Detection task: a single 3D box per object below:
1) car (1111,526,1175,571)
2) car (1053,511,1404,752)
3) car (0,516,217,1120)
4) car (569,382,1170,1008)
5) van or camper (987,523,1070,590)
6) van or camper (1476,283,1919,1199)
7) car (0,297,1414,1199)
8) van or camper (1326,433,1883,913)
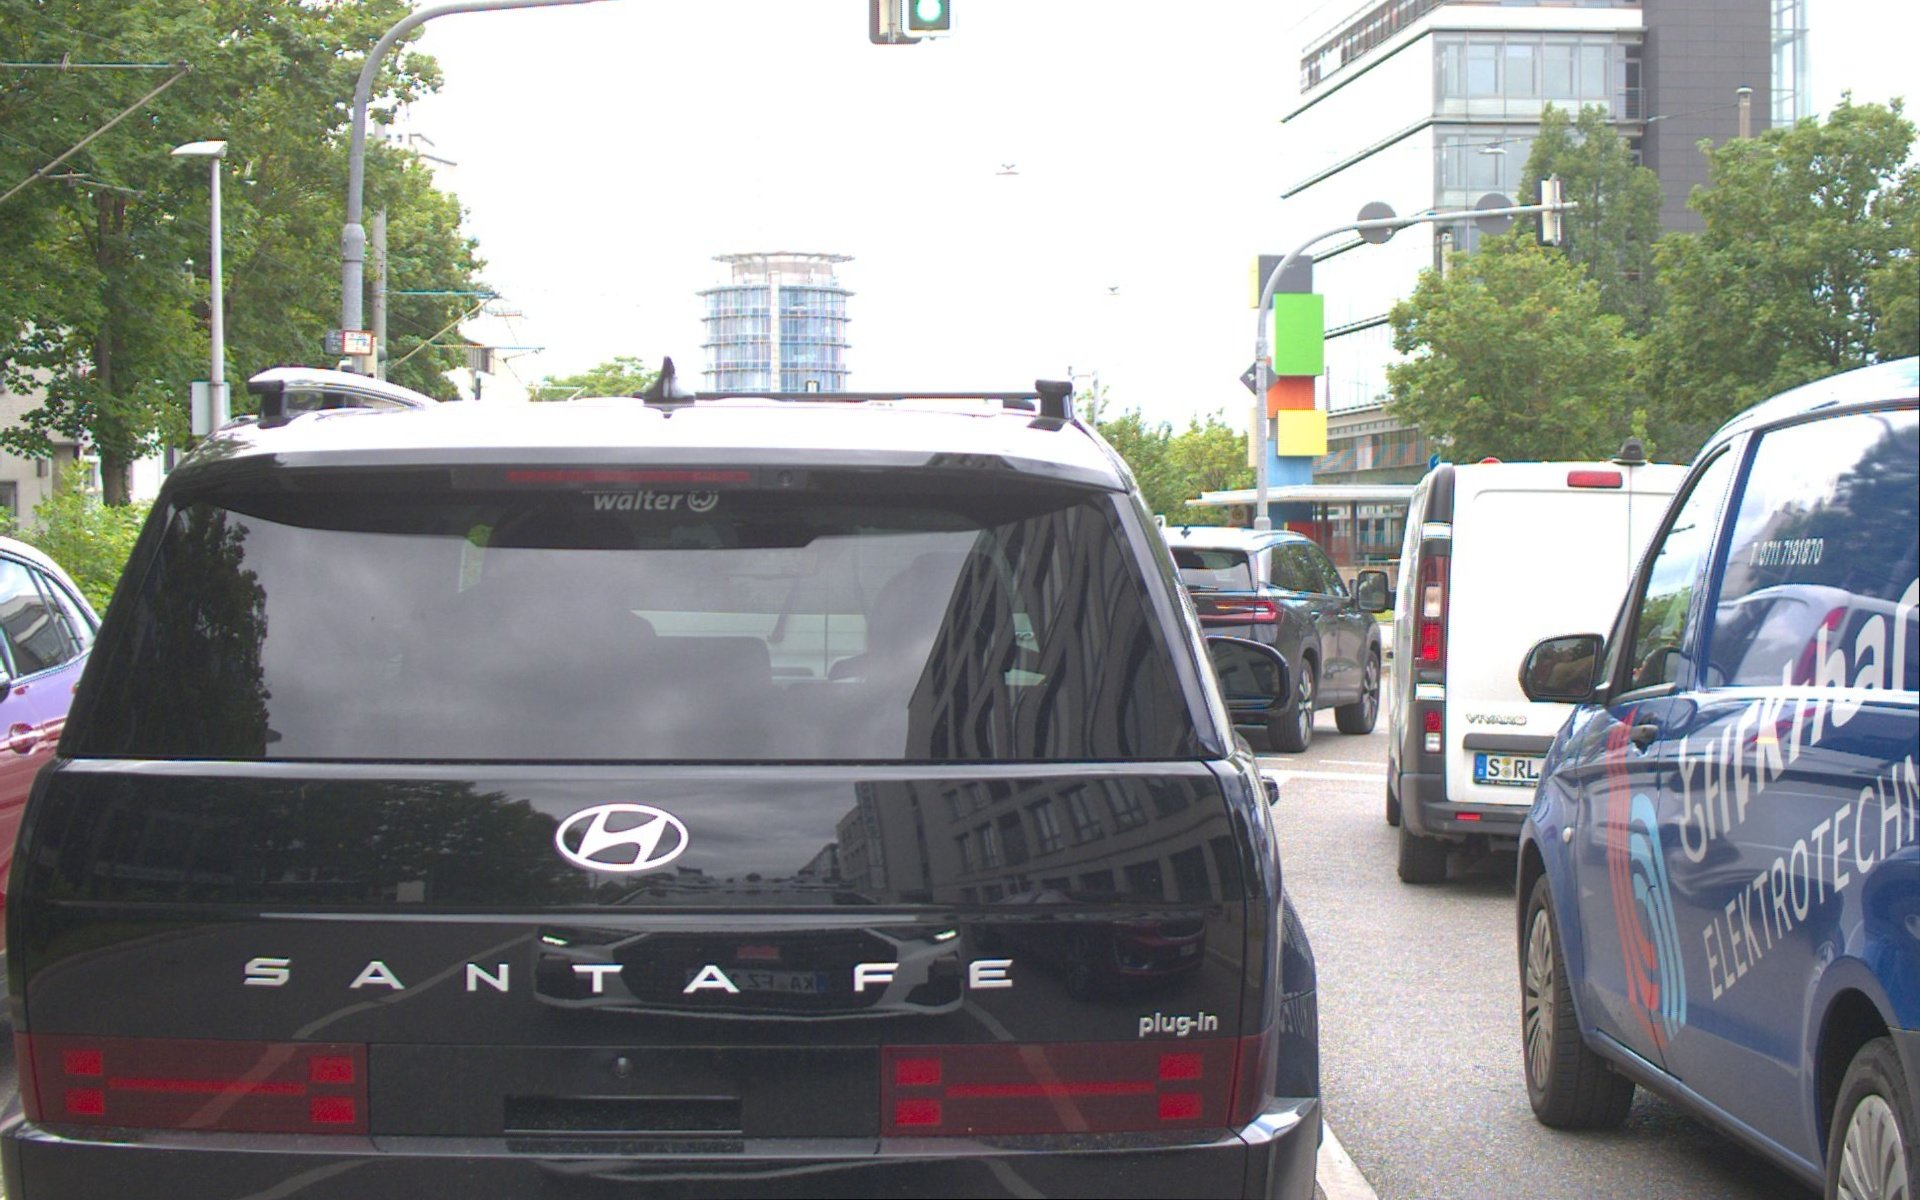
[{"bbox_3d":[6.970,-1.954,131.112,1.993,1.678,4.000,0,0,-3],"label":"car"},{"bbox_3d":[2.186,0.209,26.820,1.777,1.711,4.335,1,0,18],"label":"car"},{"bbox_3d":[-3.441,0.599,9.303,1.847,1.575,4.116,-2,0,1],"label":"car"},{"bbox_3d":[-0.313,0.270,12.933,1.915,1.996,3.880,0,1,-1],"label":"car"},{"bbox_3d":[2.706,-1.666,133.865,1.994,2.538,6.575,1,0,12],"label":"van or camper"},{"bbox_3d":[2.407,0.425,7.158,1.859,1.904,5.032,0,1,-1],"label":"van or camper"},{"bbox_3d":[-0.424,0.494,5.948,1.869,1.754,3.880,0,1,-1],"label":"car"},{"bbox_3d":[2.963,0.269,16.839,1.993,2.007,4.652,1,1,2],"label":"van or camper"}]
